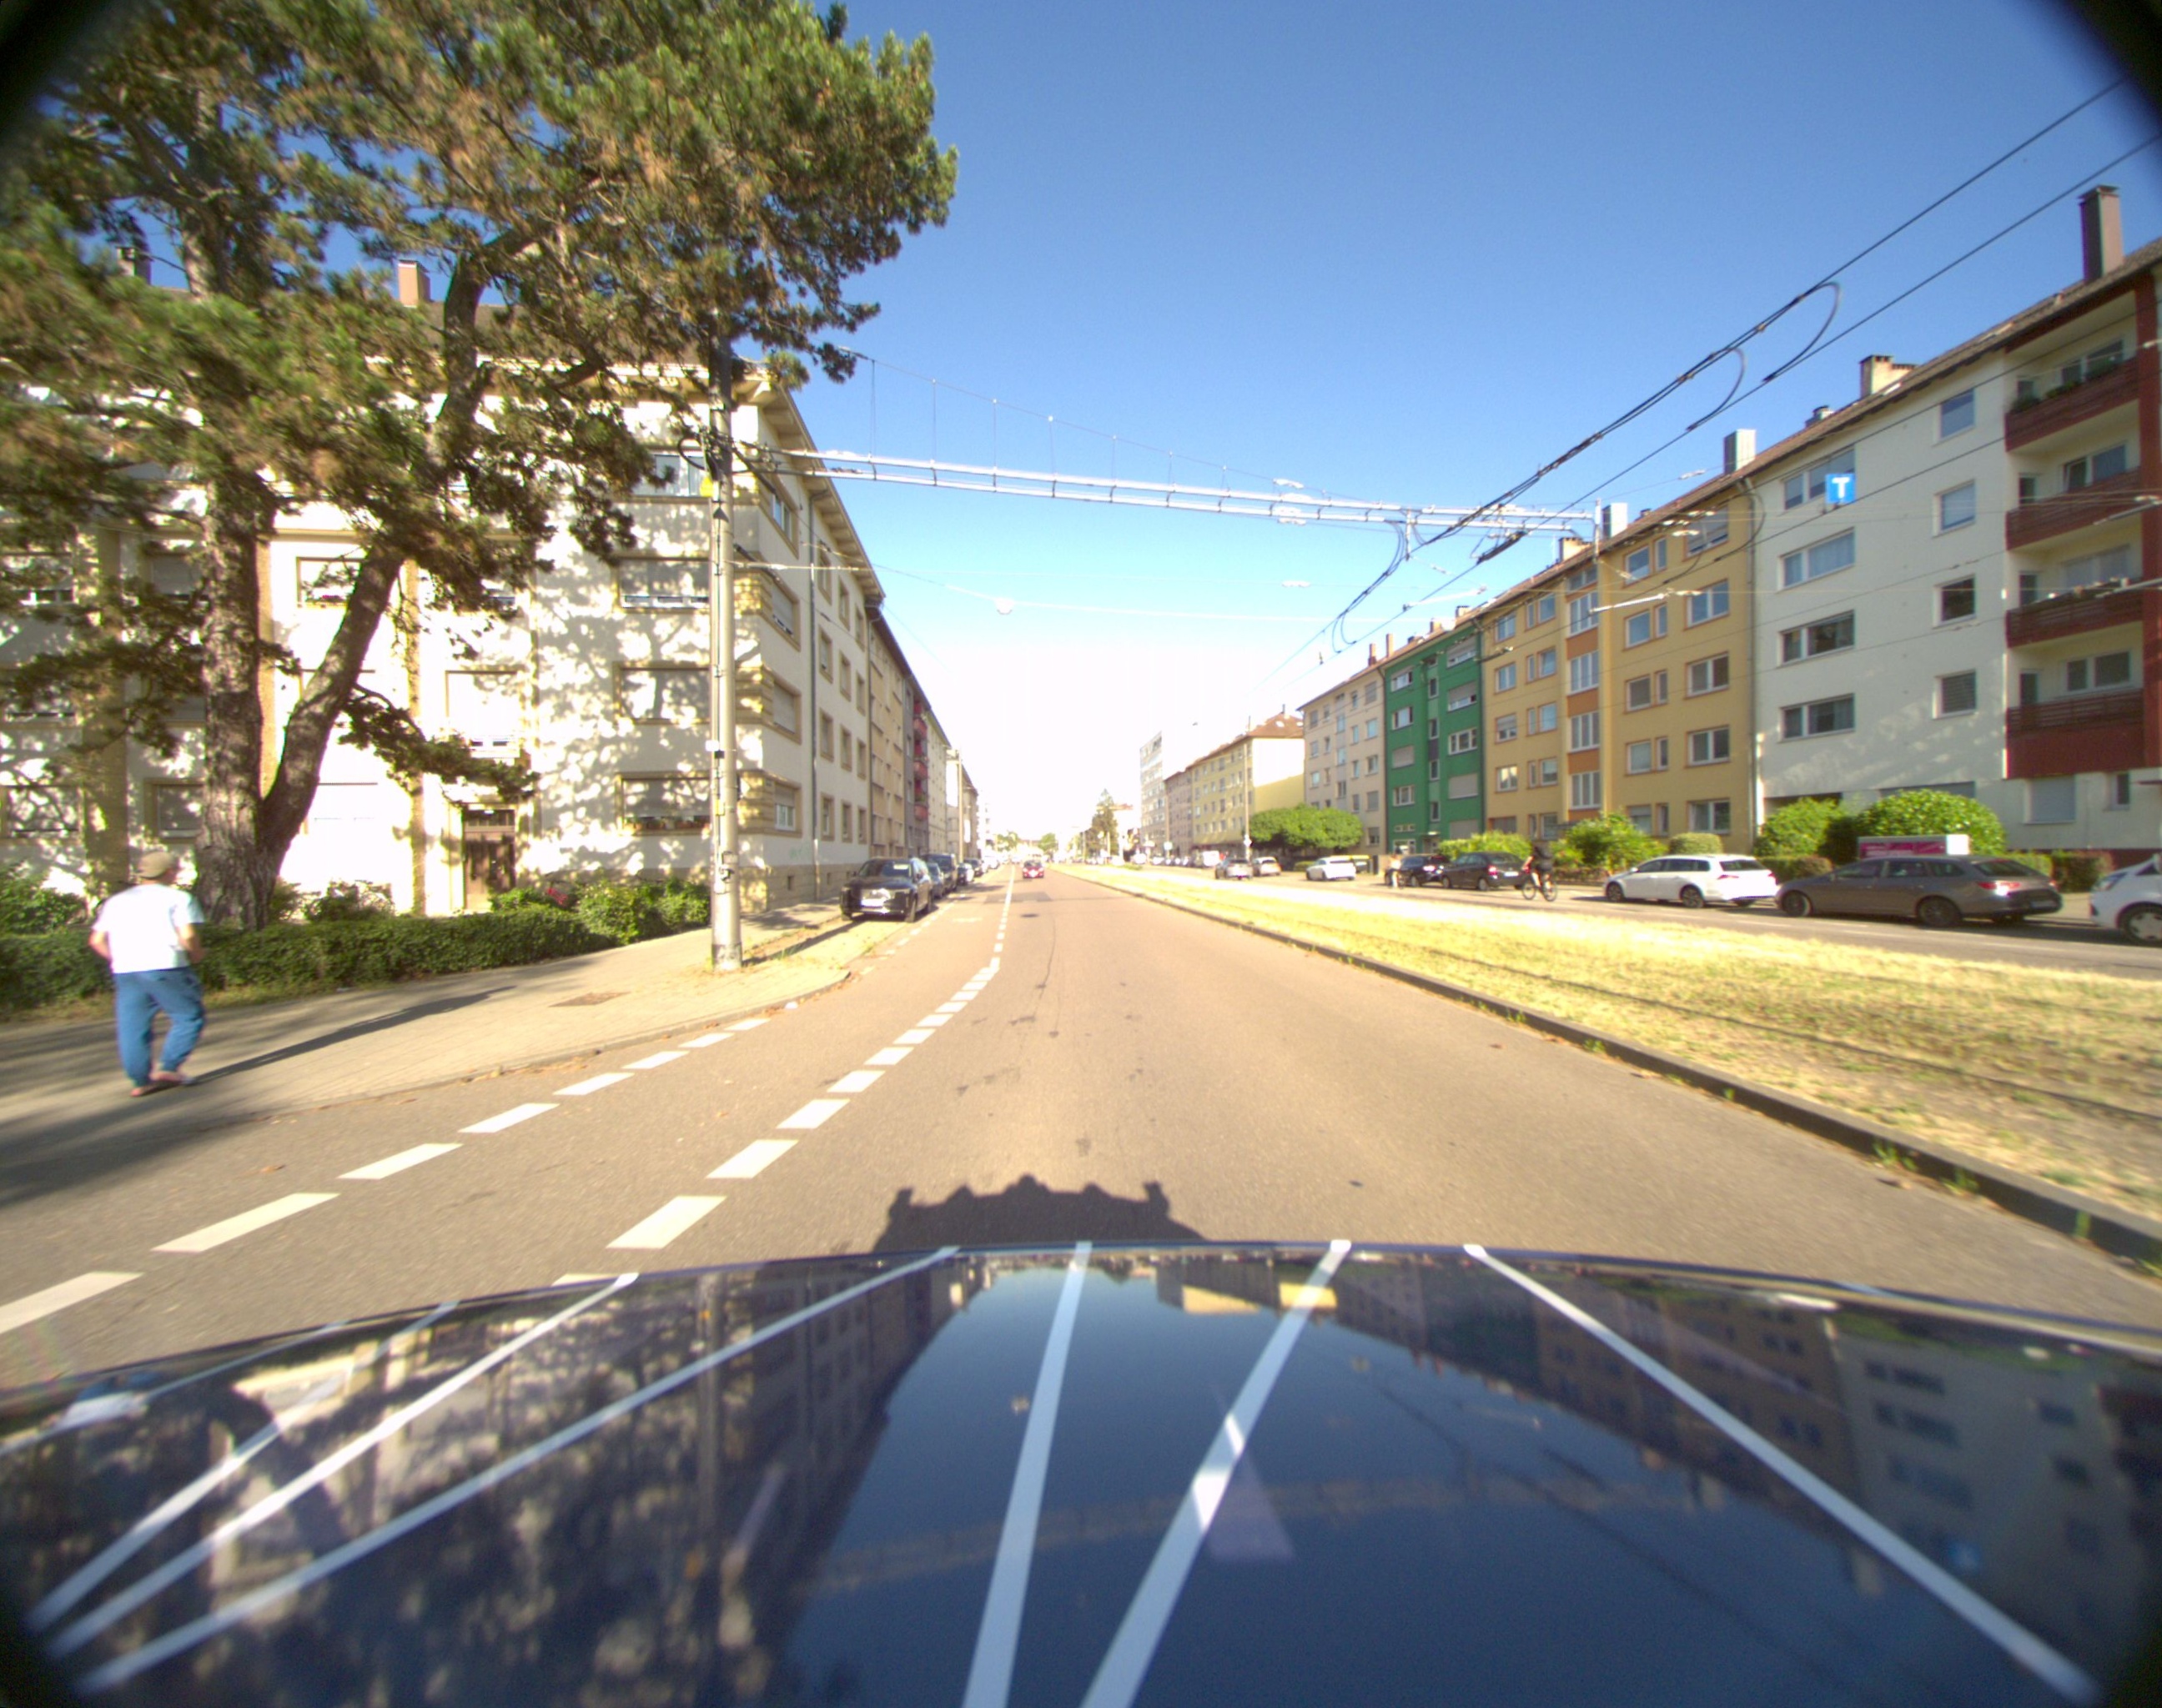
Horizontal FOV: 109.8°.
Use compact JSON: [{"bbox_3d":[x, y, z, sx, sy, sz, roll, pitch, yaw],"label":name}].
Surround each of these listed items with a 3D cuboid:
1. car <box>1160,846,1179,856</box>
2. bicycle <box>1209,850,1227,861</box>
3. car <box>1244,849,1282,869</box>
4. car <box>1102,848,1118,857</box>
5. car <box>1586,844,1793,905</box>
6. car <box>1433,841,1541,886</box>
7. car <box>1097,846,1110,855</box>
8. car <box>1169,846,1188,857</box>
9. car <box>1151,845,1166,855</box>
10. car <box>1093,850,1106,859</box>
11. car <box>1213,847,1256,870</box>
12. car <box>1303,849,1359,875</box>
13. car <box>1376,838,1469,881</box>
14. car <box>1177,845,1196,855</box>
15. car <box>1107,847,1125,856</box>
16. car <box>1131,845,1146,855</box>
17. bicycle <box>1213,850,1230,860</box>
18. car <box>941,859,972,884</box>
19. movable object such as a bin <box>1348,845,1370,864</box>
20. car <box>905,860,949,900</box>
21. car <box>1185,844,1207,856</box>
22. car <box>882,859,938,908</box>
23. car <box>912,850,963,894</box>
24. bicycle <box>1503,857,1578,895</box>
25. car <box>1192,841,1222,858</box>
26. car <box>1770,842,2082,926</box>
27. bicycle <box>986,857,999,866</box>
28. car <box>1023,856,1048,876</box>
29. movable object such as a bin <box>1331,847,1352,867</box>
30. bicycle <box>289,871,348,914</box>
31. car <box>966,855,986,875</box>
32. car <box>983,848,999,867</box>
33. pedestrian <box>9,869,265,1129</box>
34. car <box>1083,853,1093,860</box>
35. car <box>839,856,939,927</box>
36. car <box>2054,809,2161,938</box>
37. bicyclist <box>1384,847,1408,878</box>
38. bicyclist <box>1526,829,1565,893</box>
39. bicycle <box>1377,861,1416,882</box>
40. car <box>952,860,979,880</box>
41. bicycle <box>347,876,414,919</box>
[{"bbox_3d":[13.779,-0.429,118.267,1.788,1.377,4.412,-4,1,-7],"label":"car"},{"bbox_3d":[16.610,0.174,92.047,2.104,1.099,0.472,-4,1,-4],"label":"bicycle"},{"bbox_3d":[14.326,0.394,59.846,1.640,1.434,3.731,-3,1,-7],"label":"car"},{"bbox_3d":[4.965,-0.219,129.556,1.789,1.519,4.411,0,0,-10],"label":"car"},{"bbox_3d":[17.395,0.507,22.090,1.898,1.483,4.700,-3,1,-7],"label":"car"},{"bbox_3d":[16.795,0.346,31.689,1.999,1.598,4.148,-4,1,-5],"label":"car"},{"bbox_3d":[4.010,-0.683,137.155,1.788,1.572,4.605,0,0,-5],"label":"car"},{"bbox_3d":[14.417,-0.361,112.967,1.788,1.412,4.412,-4,1,-5],"label":"car"},{"bbox_3d":[12.931,-0.725,126.898,1.763,1.477,4.197,-4,1,-5],"label":"car"},{"bbox_3d":[3.510,0.130,143.591,1.862,1.541,4.237,1,0,-7],"label":"car"},{"bbox_3d":[9.791,0.261,48.764,1.699,1.440,4.215,0,1,-4],"label":"car"},{"bbox_3d":[15.435,0.461,47.168,1.734,1.446,4.373,-2,1,-5],"label":"car"},{"bbox_3d":[16.327,0.234,36.611,1.999,1.827,4.606,-4,1,-5],"label":"car"},{"bbox_3d":[14.945,-0.555,107.561,1.788,1.377,3.766,-4,1,-5],"label":"car"},{"bbox_3d":[5.633,-0.371,123.368,1.840,1.377,4.410,0,0,-11],"label":"car"},{"bbox_3d":[11.222,-0.794,148.764,2.000,1.887,4.666,-4,1,-7],"label":"car"},{"bbox_3d":[16.624,0.102,89.980,1.824,1.099,0.390,-4,1,-4],"label":"bicycle"},{"bbox_3d":[-7.914,1.088,48.547,1.640,1.445,3.787,1,1,-5],"label":"car"},{"bbox_3d":[20.386,0.032,55.768,1.150,1.360,1.038,-4,2,-2],"label":"movable object such as a bin"},{"bbox_3d":[-6.407,1.045,31.980,1.515,1.469,4.235,0,1,-7],"label":"car"},{"bbox_3d":[15.364,-0.524,101.752,1.788,1.465,4.593,-4,1,-5],"label":"car"},{"bbox_3d":[-6.024,0.994,27.133,1.599,1.569,3.892,1,1,-7],"label":"car"},{"bbox_3d":[-6.887,0.791,36.895,1.919,1.888,5.132,2,1,-5],"label":"car"},{"bbox_3d":[14.937,0.687,24.814,0.770,1.139,2.473,1,1,-5],"label":"bicycle"},{"bbox_3d":[15.865,-0.604,96.020,2.000,1.938,5.496,-4,1,-8],"label":"car"},{"bbox_3d":[17.937,0.537,16.493,1.700,1.506,4.323,-2,1,-7],"label":"car"},{"bbox_3d":[-12.111,1.036,104.285,2.023,1.081,0.487,-3,2,43],"label":"bicycle"},{"bbox_3d":[-3.615,0.941,59.569,1.863,1.461,3.806,0,1,-4],"label":"car"},{"bbox_3d":[19.095,0.187,55.698,1.150,1.360,1.038,-4,2,-2],"label":"movable object such as a bin"},{"bbox_3d":[-20.305,1.009,20.239,1.385,1.106,0.391,1,1,11],"label":"bicycle"},{"bbox_3d":[-9.245,0.949,66.979,1.641,1.638,4.370,1,0,-7],"label":"car"},{"bbox_3d":[-12.915,0.436,109.406,2.157,2.681,6.288,1,1,-5],"label":"car"},{"bbox_3d":[-6.696,0.978,5.439,0.882,1.712,0.725,-1,1,1],"label":"pedestrian"},{"bbox_3d":[1.462,0.513,156.536,1.618,1.550,3.997,1,0,-5],"label":"car"},{"bbox_3d":[-5.334,0.961,21.760,1.884,1.707,4.931,2,1,-4],"label":"car"},{"bbox_3d":[18.377,0.294,10.797,2.038,2.009,5.367,-4,1,-4],"label":"car"},{"bbox_3d":[14.188,0.371,34.211,0.775,1.376,0.648,-1,1,-5],"label":"bicyclist"},{"bbox_3d":[15.050,0.219,24.628,0.775,2.002,0.648,-4,1,-5],"label":"bicyclist"},{"bbox_3d":[14.200,0.792,34.257,0.770,0.874,2.067,0,1,-5],"label":"bicycle"},{"bbox_3d":[-8.515,1.175,56.138,1.707,1.268,4.300,2,0,-6],"label":"car"},{"bbox_3d":[-18.692,1.156,20.289,1.386,1.106,0.391,0,1,-1],"label":"bicycle"}]
